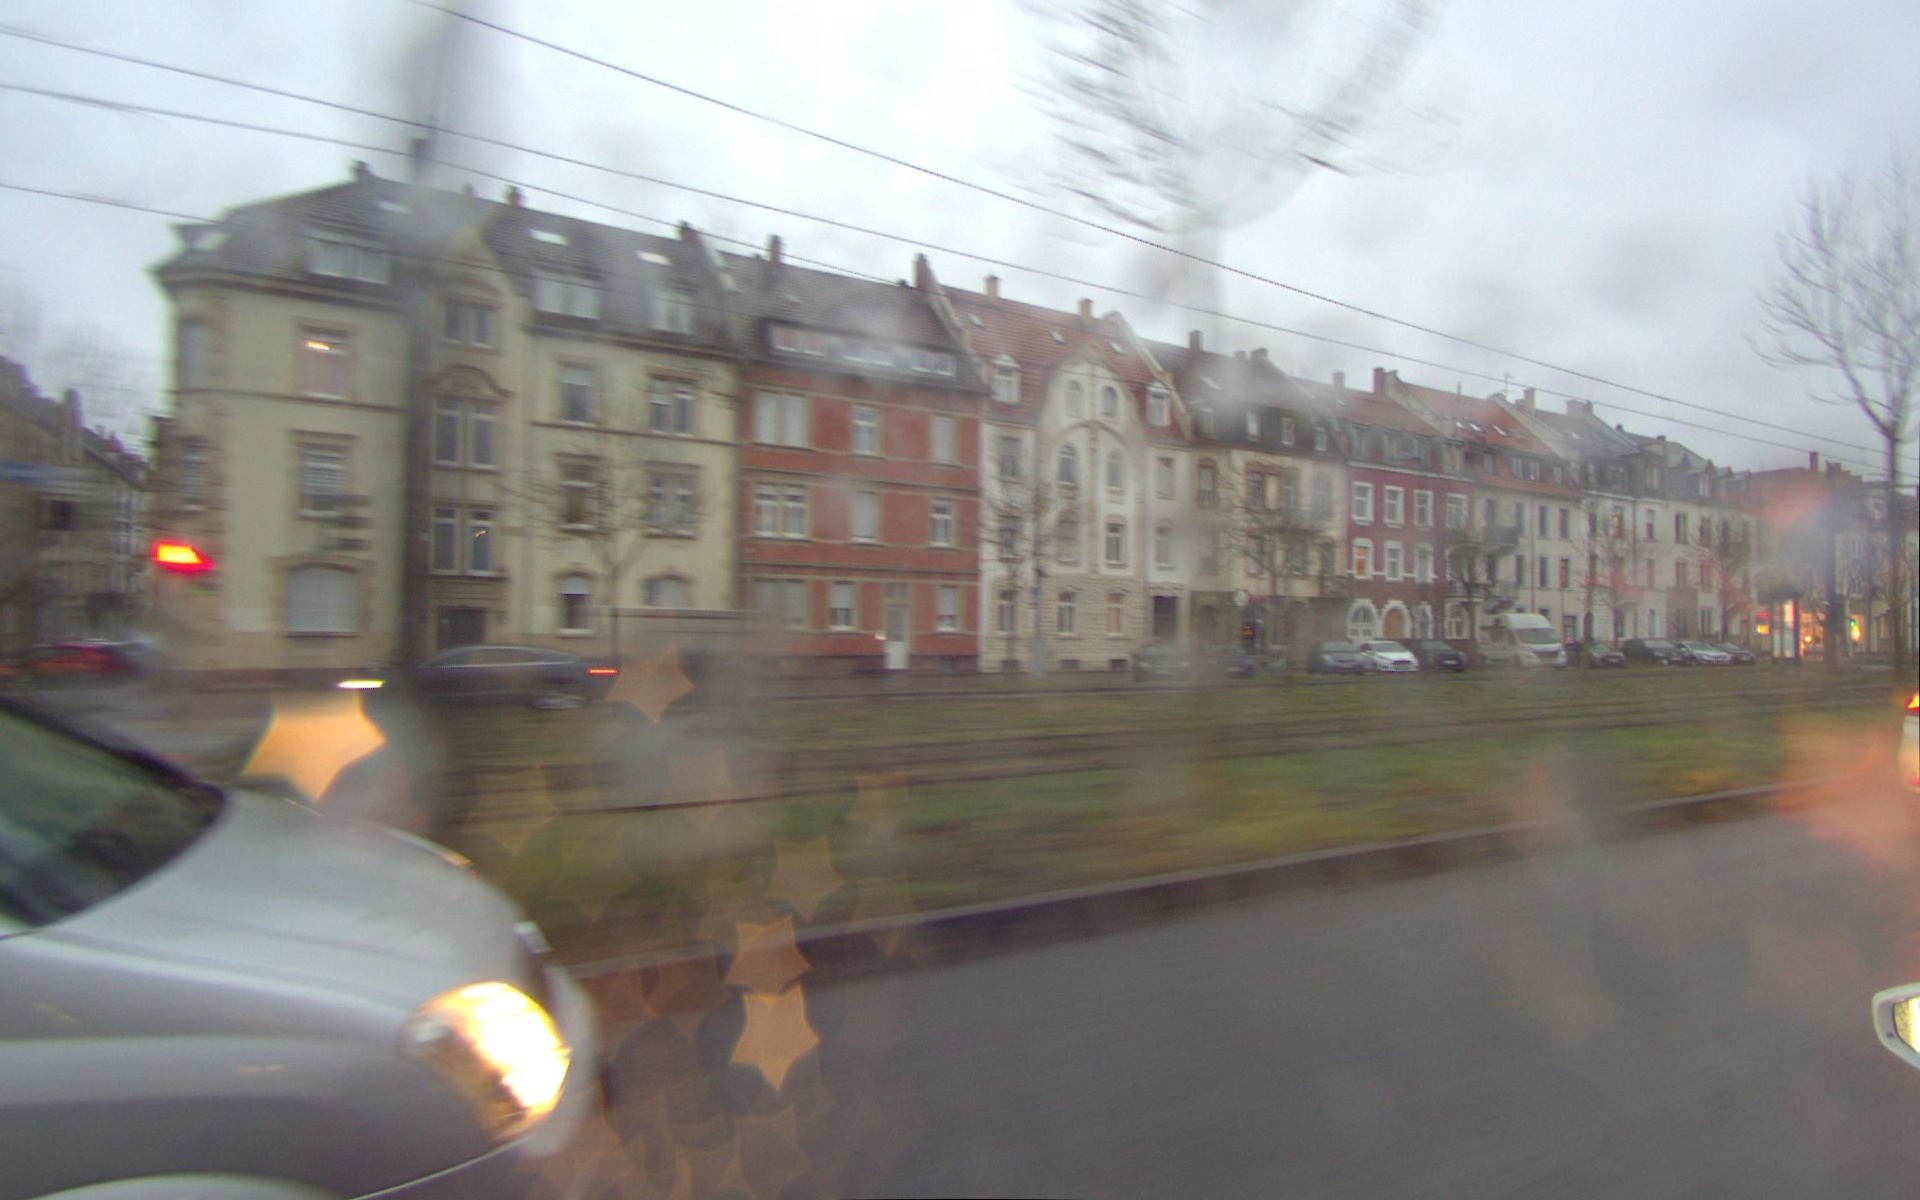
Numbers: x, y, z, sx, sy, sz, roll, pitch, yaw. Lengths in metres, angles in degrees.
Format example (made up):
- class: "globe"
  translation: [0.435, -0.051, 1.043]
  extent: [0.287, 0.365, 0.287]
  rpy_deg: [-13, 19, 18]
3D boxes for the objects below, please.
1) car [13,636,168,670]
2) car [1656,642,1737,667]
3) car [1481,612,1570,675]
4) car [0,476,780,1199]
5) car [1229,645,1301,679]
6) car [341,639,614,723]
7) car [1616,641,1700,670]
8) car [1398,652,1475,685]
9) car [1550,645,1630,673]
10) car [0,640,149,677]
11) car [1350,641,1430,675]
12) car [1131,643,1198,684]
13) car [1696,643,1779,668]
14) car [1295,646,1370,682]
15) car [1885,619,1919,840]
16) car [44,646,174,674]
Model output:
- class: "car"
  translation: [-32.022, 1.948, 37.104]
  extent: [3.925, 1.228, 1.869]
  rpy_deg: [0, -3, -7]
- class: "car"
  translation: [40.739, 3.000, 55.676]
  extent: [1.959, 1.349, 4.003]
  rpy_deg: [0, -2, 8]
- class: "car"
  translation: [26.915, 2.068, 48.063]
  extent: [1.959, 2.834, 5.872]
  rpy_deg: [0, -2, 12]
- class: "car"
  translation: [-2.477, 0.644, 1.401]
  extent: [4.008, 1.621, 1.800]
  rpy_deg: [2, -1, -31]
- class: "car"
  translation: [11.317, 2.294, 37.503]
  extent: [1.959, 1.184, 4.003]
  rpy_deg: [0, -2, 8]
- class: "car"
  translation: [-9.431, 1.534, 19.831]
  extent: [4.644, 1.472, 1.856]
  rpy_deg: [2, -3, -30]
- class: "car"
  translation: [37.838, 3.006, 54.594]
  extent: [1.960, 1.505, 4.003]
  rpy_deg: [0, -2, 4]
- class: "car"
  translation: [20.974, 2.999, 44.378]
  extent: [1.959, 1.349, 4.003]
  rpy_deg: [0, -2, 8]
- class: "car"
  translation: [32.152, 3.009, 51.412]
  extent: [1.959, 1.349, 4.003]
  rpy_deg: [0, -2, 8]
- class: "car"
  translation: [-30.329, 1.979, 34.102]
  extent: [3.925, 1.228, 1.869]
  rpy_deg: [0, -3, -7]
- class: "car"
  translation: [18.236, 2.438, 42.822]
  extent: [1.960, 1.349, 4.003]
  rpy_deg: [0, -2, 5]
- class: "car"
  translation: [7.153, 2.205, 35.461]
  extent: [1.959, 1.349, 4.003]
  rpy_deg: [0, -2, 6]
- class: "car"
  translation: [44.008, 3.109, 56.963]
  extent: [1.959, 1.349, 4.003]
  rpy_deg: [0, -2, 8]
- class: "car"
  translation: [15.240, 2.597, 41.335]
  extent: [1.959, 1.349, 4.003]
  rpy_deg: [0, -2, 6]
- class: "car"
  translation: [9.084, 0.995, 7.831]
  extent: [4.006, 1.621, 1.664]
  rpy_deg: [2, -1, -30]
- class: "car"
  translation: [-37.477, 2.631, 44.321]
  extent: [3.925, 1.228, 1.869]
  rpy_deg: [0, -3, -7]
